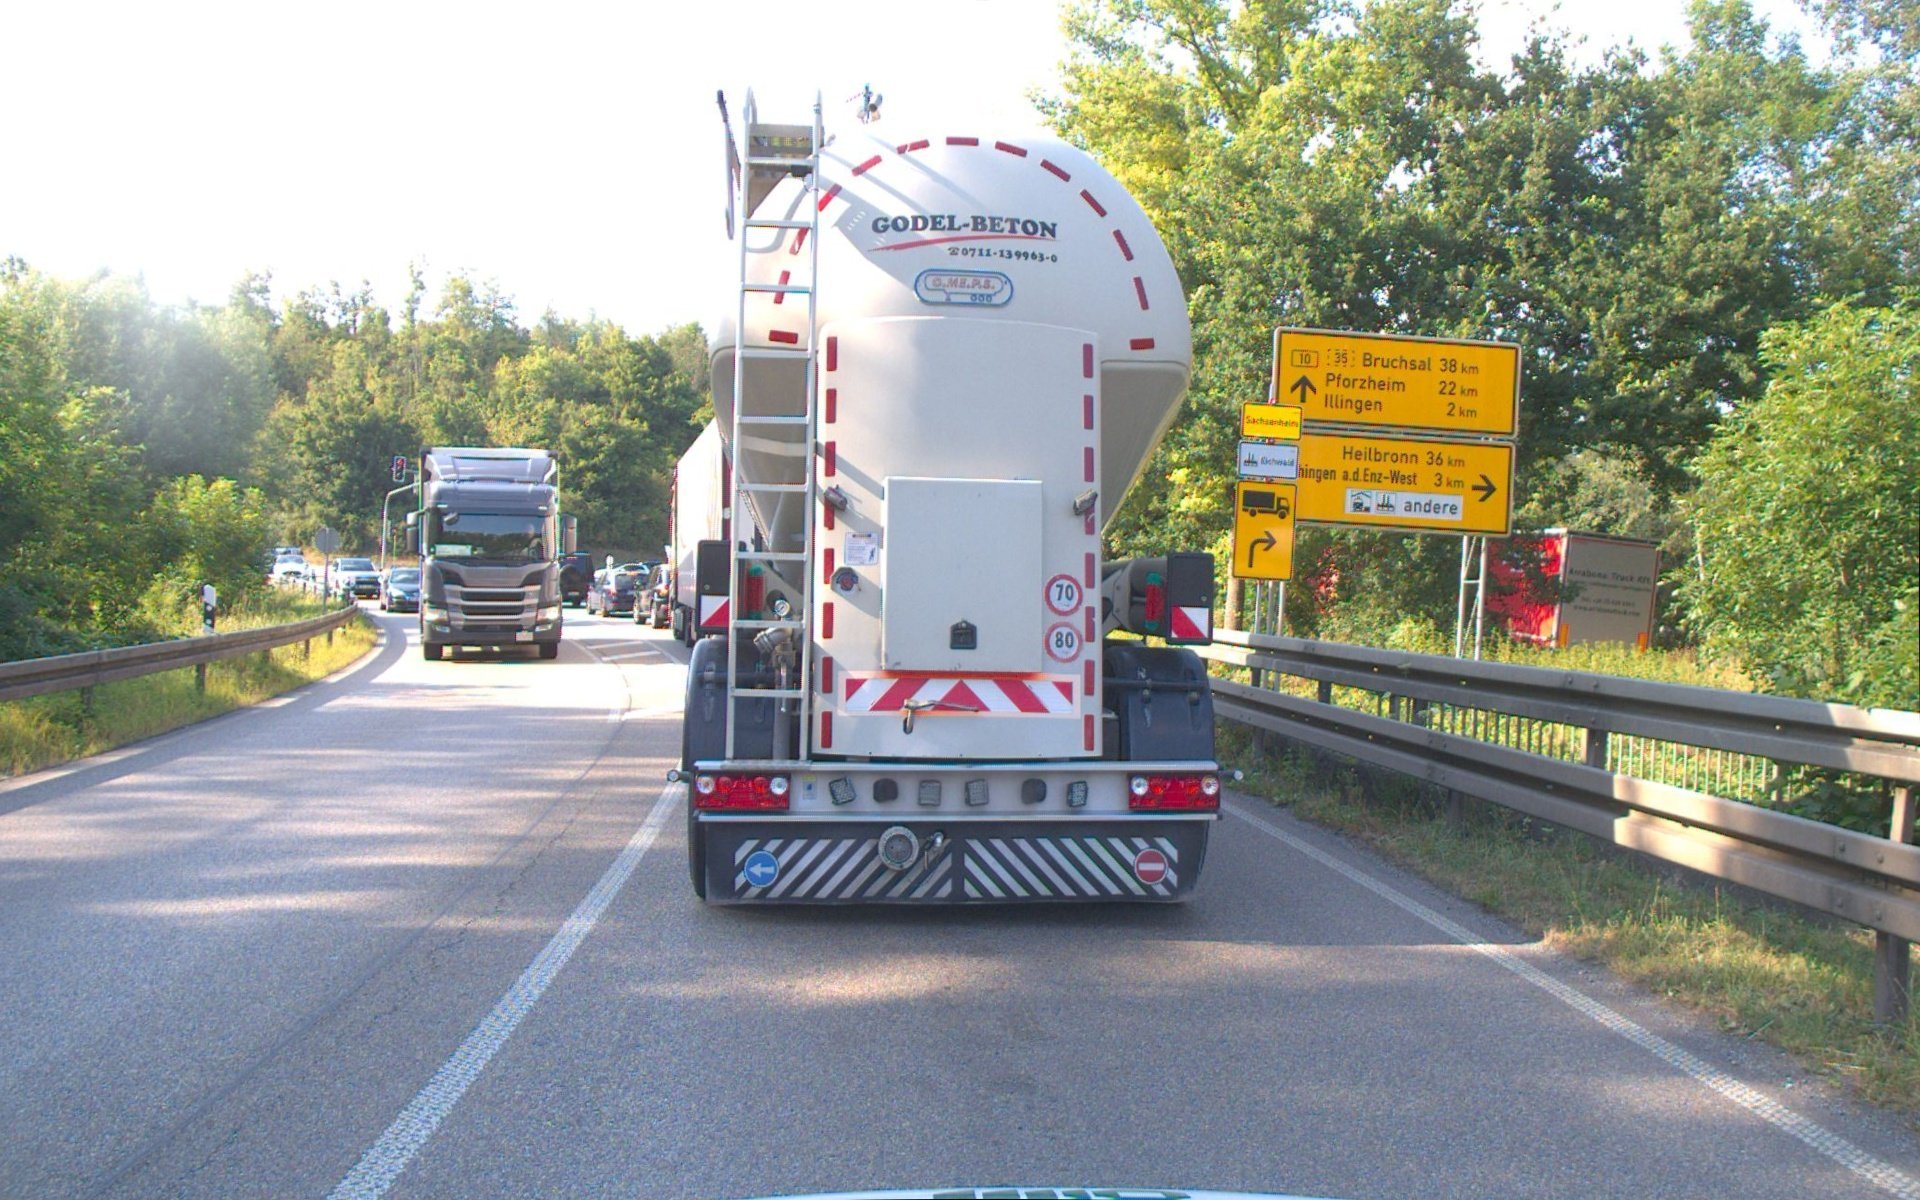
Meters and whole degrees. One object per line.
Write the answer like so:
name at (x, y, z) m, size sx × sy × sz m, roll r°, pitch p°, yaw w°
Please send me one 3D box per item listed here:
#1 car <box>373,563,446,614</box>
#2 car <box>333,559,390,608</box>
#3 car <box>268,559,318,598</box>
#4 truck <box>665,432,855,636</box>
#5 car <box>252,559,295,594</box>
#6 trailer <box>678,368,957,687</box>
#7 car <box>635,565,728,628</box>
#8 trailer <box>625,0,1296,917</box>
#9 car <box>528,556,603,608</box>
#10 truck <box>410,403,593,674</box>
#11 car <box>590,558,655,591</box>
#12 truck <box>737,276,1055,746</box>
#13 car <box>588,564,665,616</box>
car at (-18.667, -0.403, 55.998) m, size 1.844 × 1.584 × 3.969 m, roll 3°, pitch 0°, yaw -25°
car at (-24.848, -0.707, 68.580) m, size 1.844 × 1.884 × 3.969 m, roll 3°, pitch 0°, yaw -25°
car at (-34.956, -1.158, 86.589) m, size 1.848 × 1.884 × 3.961 m, roll 3°, pitch 0°, yaw -30°
truck at (-4.729, -1.441, 37.800) m, size 3.393 × 4.157 × 6.466 m, roll 2°, pitch 1°, yaw -15°
car at (-39.974, -1.380, 96.383) m, size 1.838 × 1.884 × 3.980 m, roll 3°, pitch 0°, yaw -18°
trailer at (-3.159, -1.083, 30.873) m, size 3.483 × 4.592 × 12.944 m, roll 2°, pitch 0°, yaw -12°
car at (-7.757, -0.126, 45.824) m, size 1.840 × 1.656 × 3.976 m, roll 0°, pitch 1°, yaw -20°
trailer at (-0.361, -0.929, 11.903) m, size 2.830 × 4.532 × 9.596 m, roll 1°, pitch 0°, yaw -5°
car at (-14.889, -0.725, 62.266) m, size 1.933 × 1.883 × 3.966 m, roll -1°, pitch 2°, yaw -26°
truck at (-9.635, -1.084, 33.885) m, size 2.966 × 4.665 × 10.186 m, roll 1°, pitch 0°, yaw -19°
car at (-23.843, -1.800, 116.799) m, size 3.960 × 2.049 × 1.973 m, roll 3°, pitch 0°, yaw -39°
truck at (-0.916, -0.787, 17.604) m, size 2.771 × 4.105 × 5.885 m, roll 1°, pitch 0°, yaw -7°
car at (-10.848, -0.345, 53.557) m, size 1.841 × 1.592 × 3.975 m, roll 0°, pitch 1°, yaw -21°
